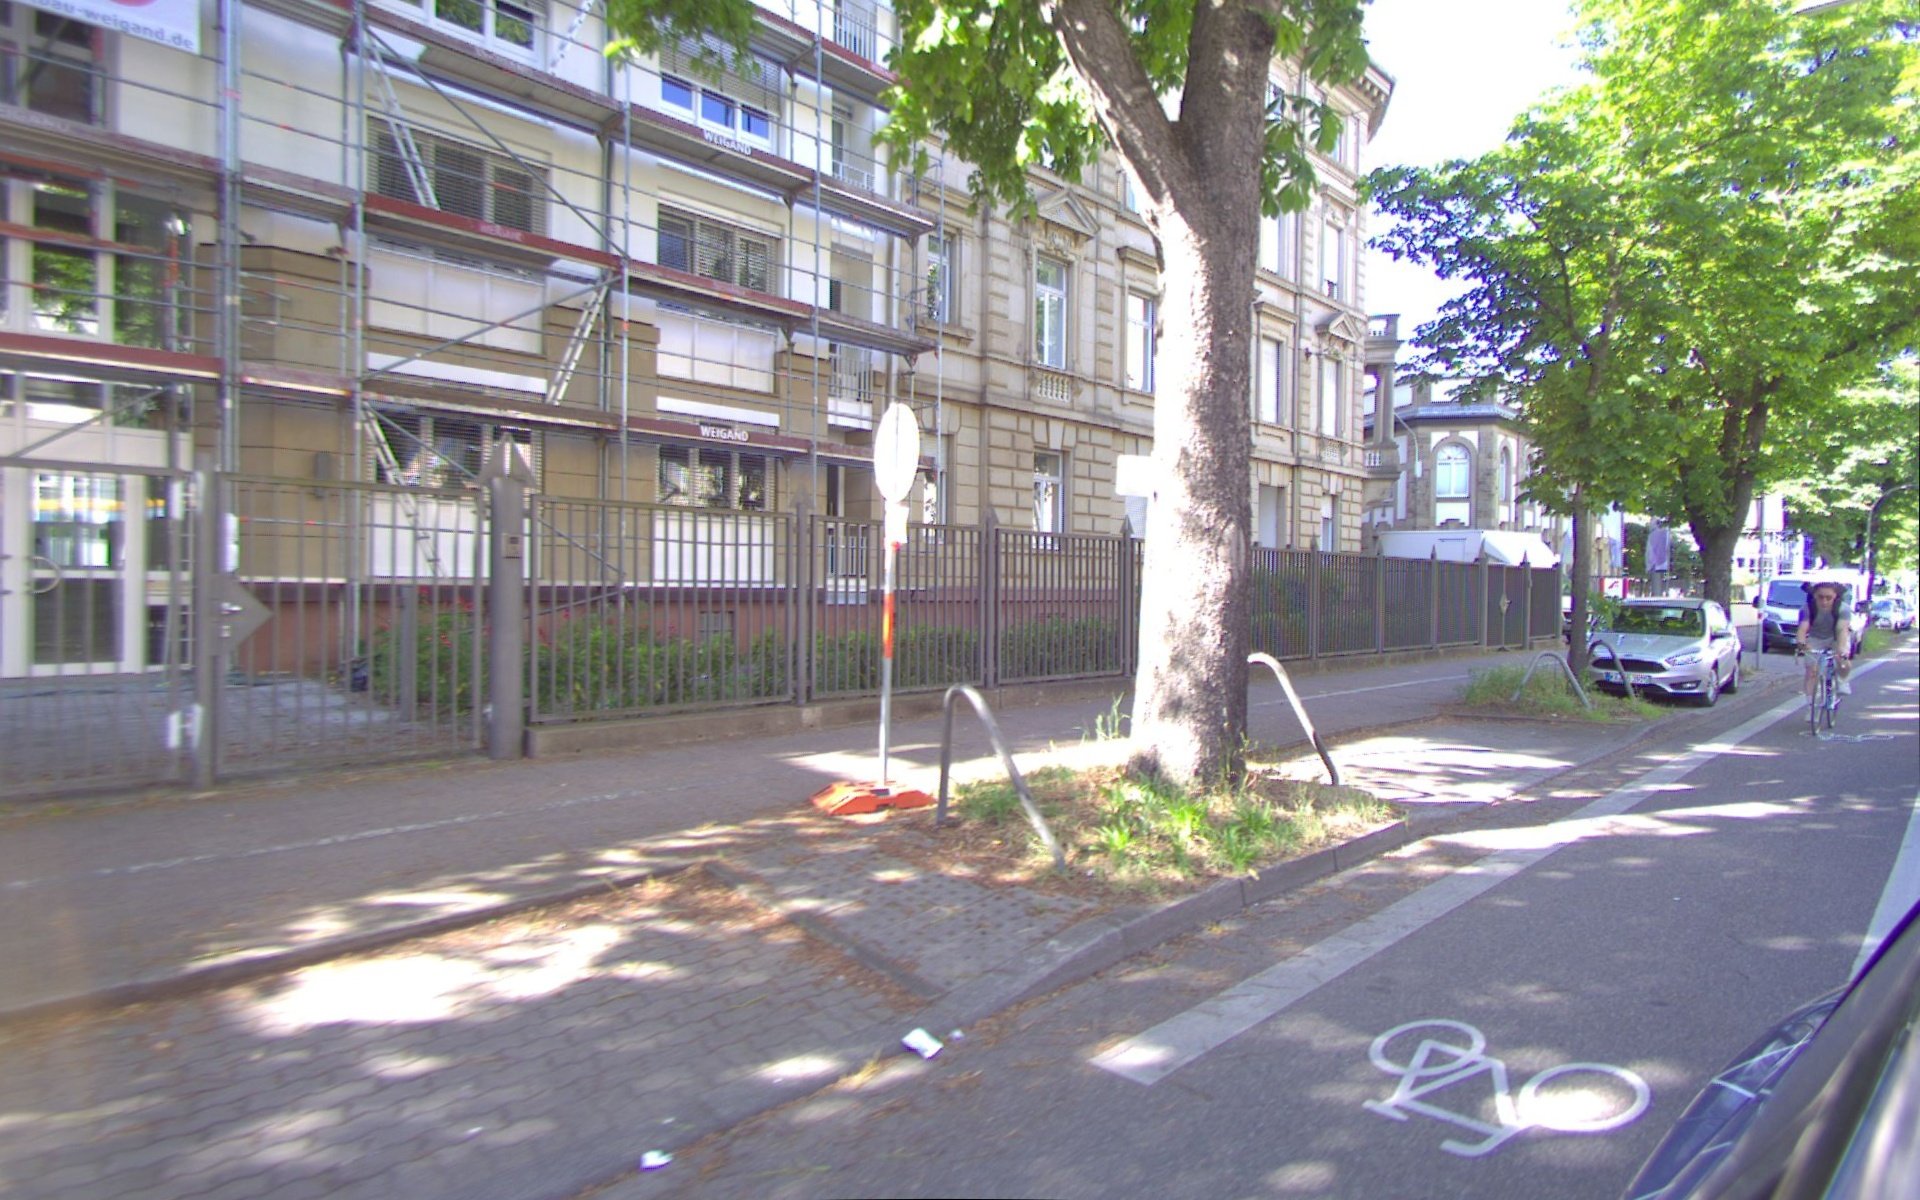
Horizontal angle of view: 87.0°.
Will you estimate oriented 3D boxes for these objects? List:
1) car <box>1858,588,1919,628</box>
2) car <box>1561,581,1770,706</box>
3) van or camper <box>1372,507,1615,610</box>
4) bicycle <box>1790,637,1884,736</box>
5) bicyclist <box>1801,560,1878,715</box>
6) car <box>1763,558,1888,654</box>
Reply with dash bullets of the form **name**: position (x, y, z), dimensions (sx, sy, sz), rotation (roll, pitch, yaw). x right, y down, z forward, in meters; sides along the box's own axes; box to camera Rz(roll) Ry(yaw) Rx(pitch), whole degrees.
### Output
- **car**: position (40.239, 0.305, 43.797), dimensions (1.862, 1.569, 4.037), rotation (1, 2, 45)
- **car**: position (10.861, 0.528, 15.463), dimensions (1.873, 1.562, 4.296), rotation (3, 3, 45)
- **van or camper**: position (15.283, -1.121, 29.648), dimensions (2.078, 2.660, 6.752), rotation (-1, 1, -18)
- **bicycle**: position (9.970, 0.940, 11.481), dimensions (2.021, 0.933, 0.534), rotation (-1, 1, -41)
- **bicyclist**: position (9.992, 0.399, 11.495), dimensions (0.863, 1.691, 0.532), rotation (-1, 0, -41)
- **car**: position (24.044, 0.065, 28.025), dimensions (2.128, 2.371, 5.712), rotation (3, 3, 45)
